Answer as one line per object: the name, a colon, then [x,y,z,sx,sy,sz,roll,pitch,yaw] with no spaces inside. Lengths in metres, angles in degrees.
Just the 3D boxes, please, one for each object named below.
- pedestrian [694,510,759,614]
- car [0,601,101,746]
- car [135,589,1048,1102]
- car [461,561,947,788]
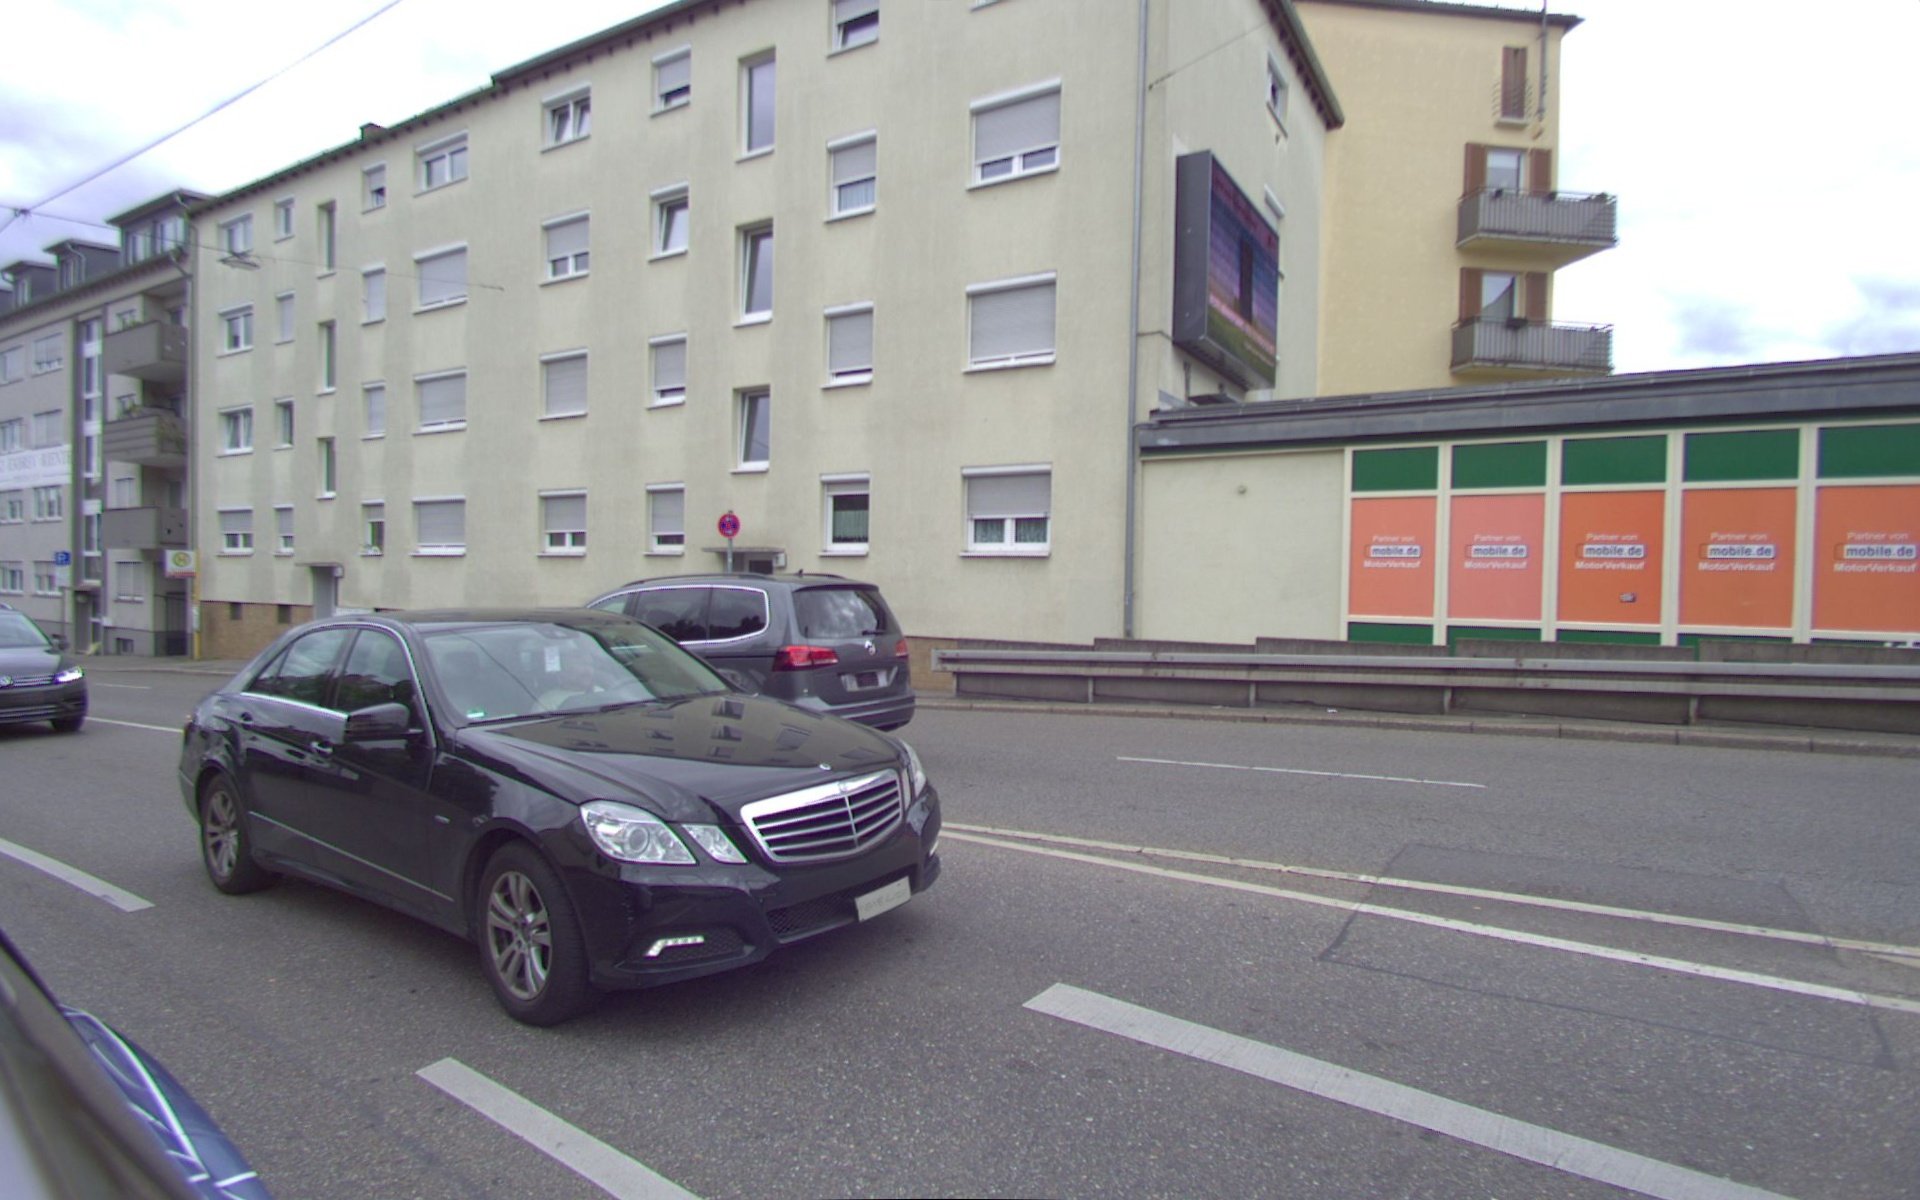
pedestrian: [-3.838,-0.603,16.659,0.775,1.649,0.684,-1,0,28]
car: [-12.816,0.854,12.666,4.464,1.623,1.844,0,1,31]
car: [-2.146,0.742,5.101,4.833,1.439,1.976,-2,0,36]
car: [-2.599,0.597,9.814,4.704,1.727,1.889,-1,-1,33]
